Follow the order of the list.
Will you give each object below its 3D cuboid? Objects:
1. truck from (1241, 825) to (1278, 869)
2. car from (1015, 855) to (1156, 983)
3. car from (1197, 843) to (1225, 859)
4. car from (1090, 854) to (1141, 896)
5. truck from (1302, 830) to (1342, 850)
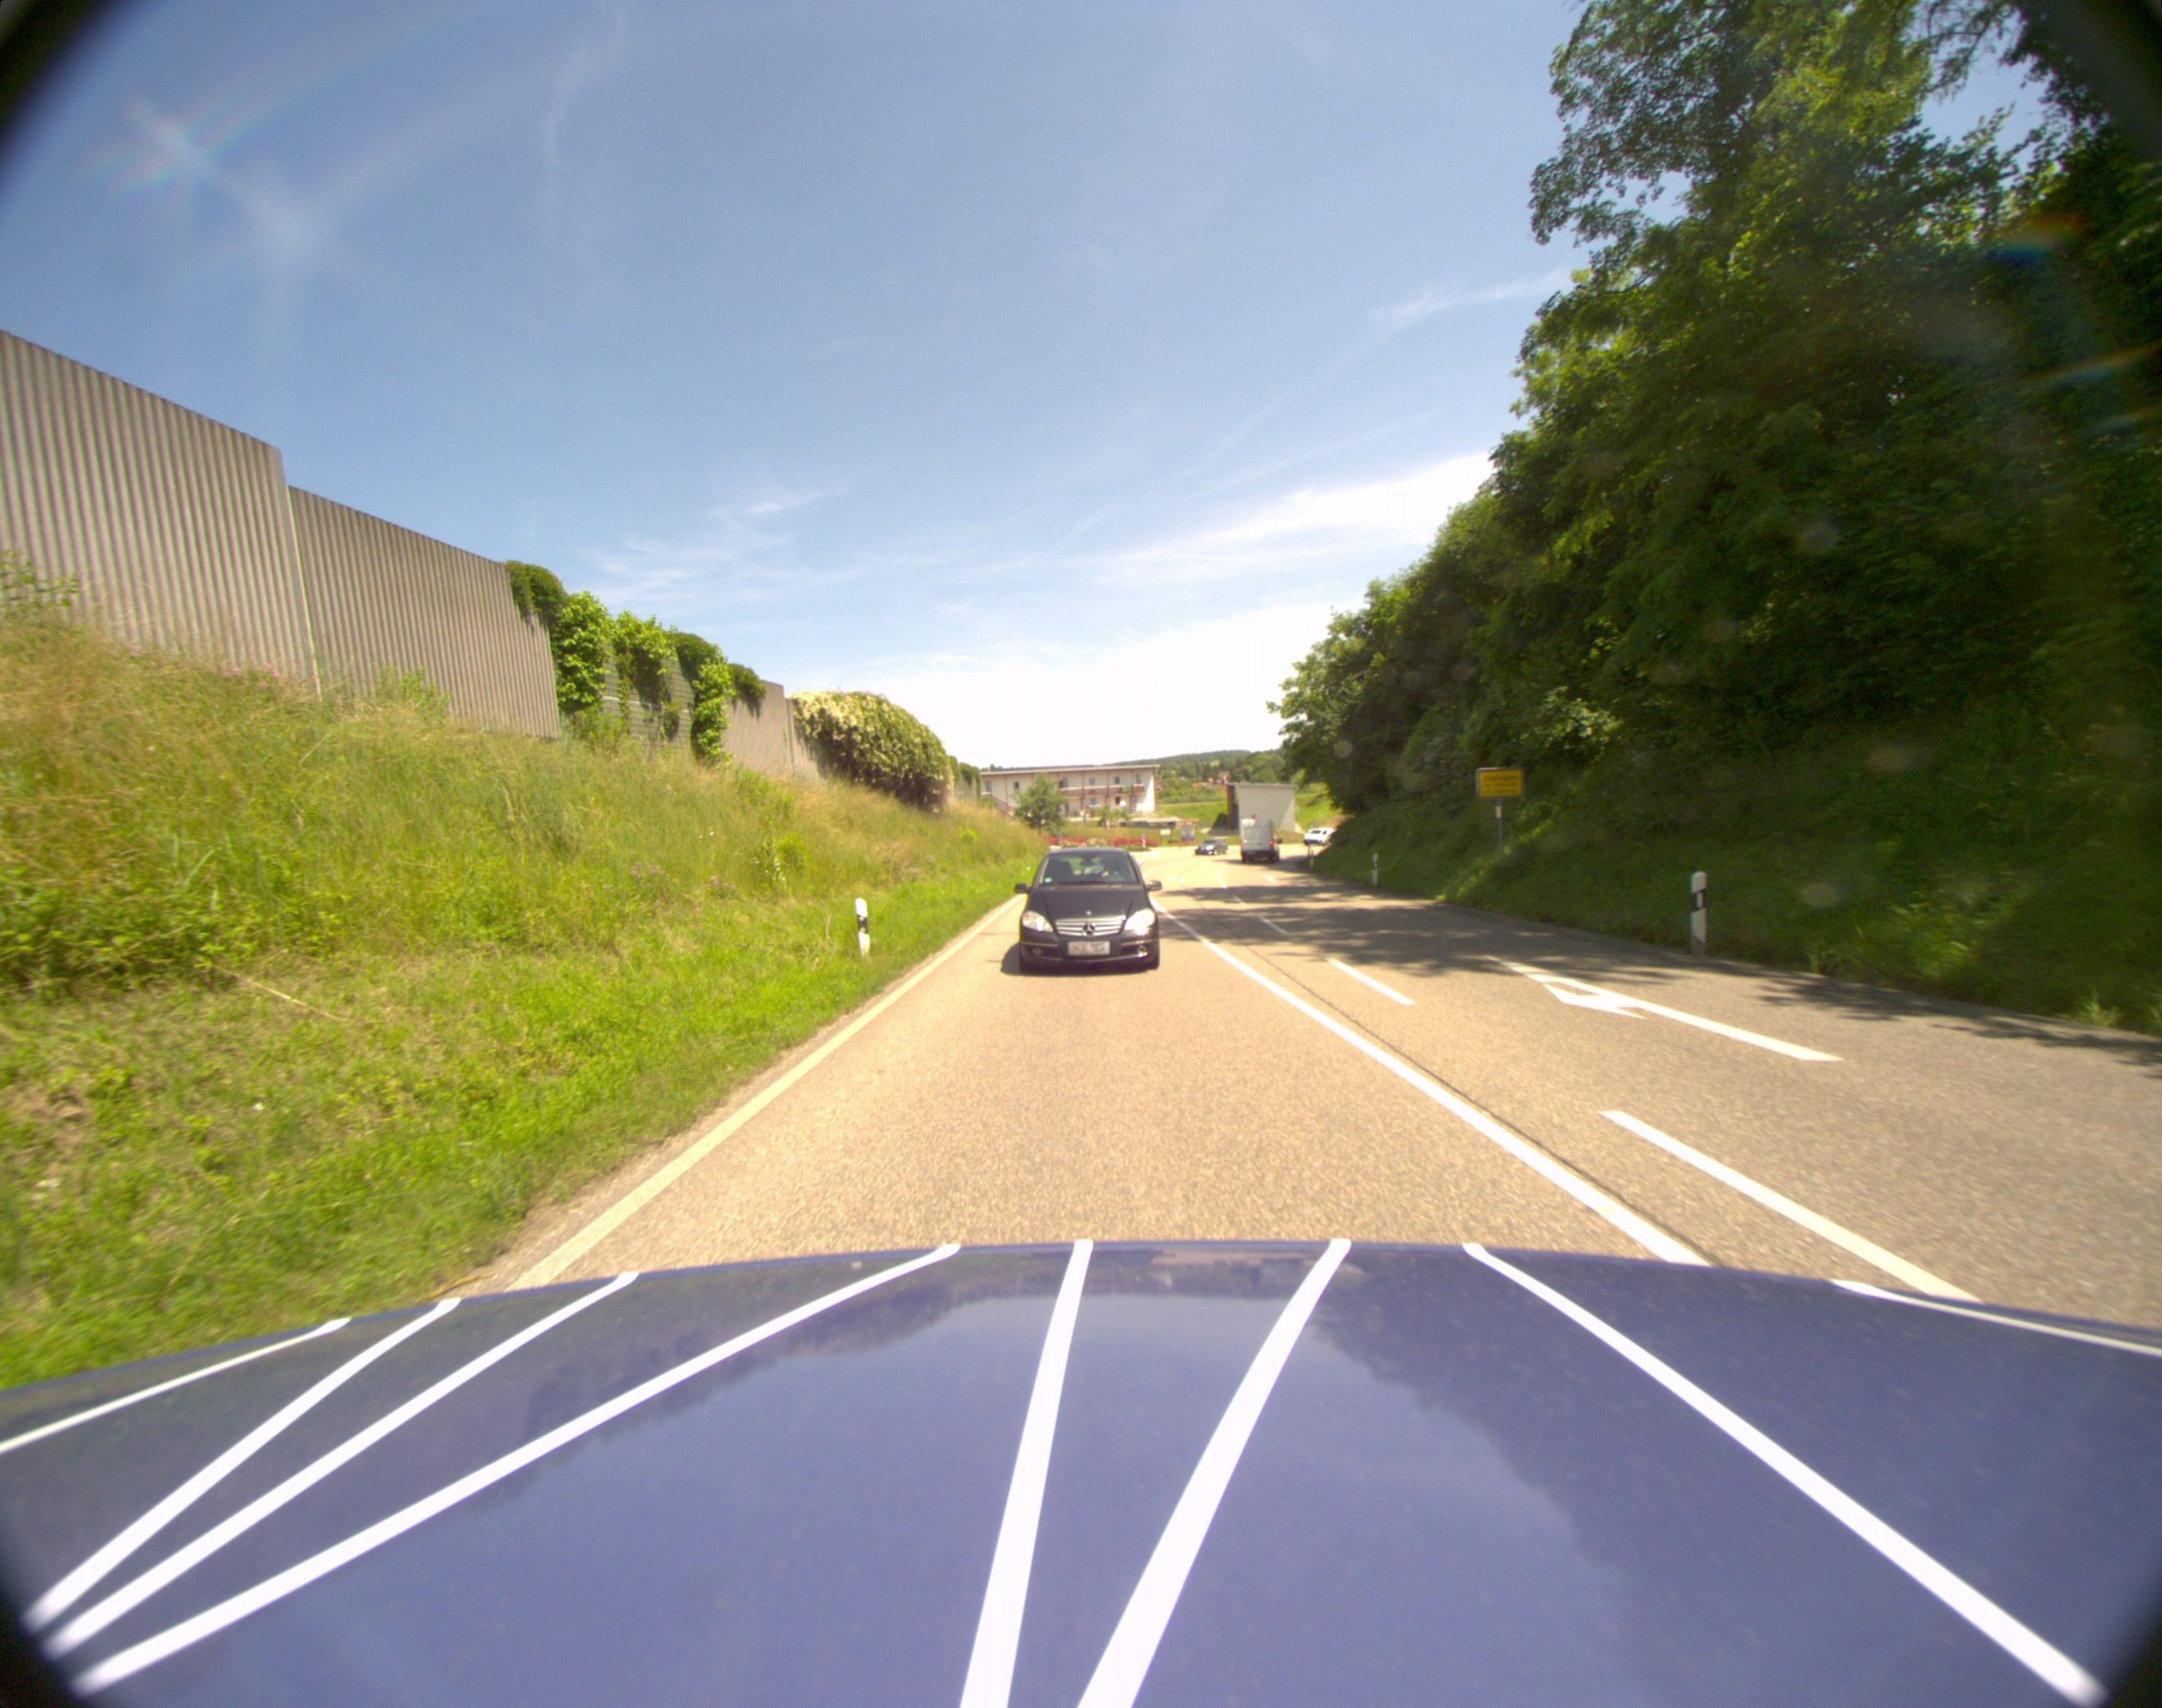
[{"bbox_3d":[11.717,-0.526,49.550,2.055,2.672,5.987,0,2,16],"label":"truck"},{"bbox_3d":[0.104,0.857,11.875,1.795,1.570,3.799,-2,1,1],"label":"car"},{"bbox_3d":[11.241,-0.251,65.513,1.752,1.281,4.151,2,2,19],"label":"car"},{"bbox_3d":[1.259,0.697,26.682,1.647,1.315,3.438,0,1,5],"label":"car"},{"bbox_3d":[26.971,-1.567,85.088,2.067,2.002,5.254,-1,3,44],"label":"truck"}]
